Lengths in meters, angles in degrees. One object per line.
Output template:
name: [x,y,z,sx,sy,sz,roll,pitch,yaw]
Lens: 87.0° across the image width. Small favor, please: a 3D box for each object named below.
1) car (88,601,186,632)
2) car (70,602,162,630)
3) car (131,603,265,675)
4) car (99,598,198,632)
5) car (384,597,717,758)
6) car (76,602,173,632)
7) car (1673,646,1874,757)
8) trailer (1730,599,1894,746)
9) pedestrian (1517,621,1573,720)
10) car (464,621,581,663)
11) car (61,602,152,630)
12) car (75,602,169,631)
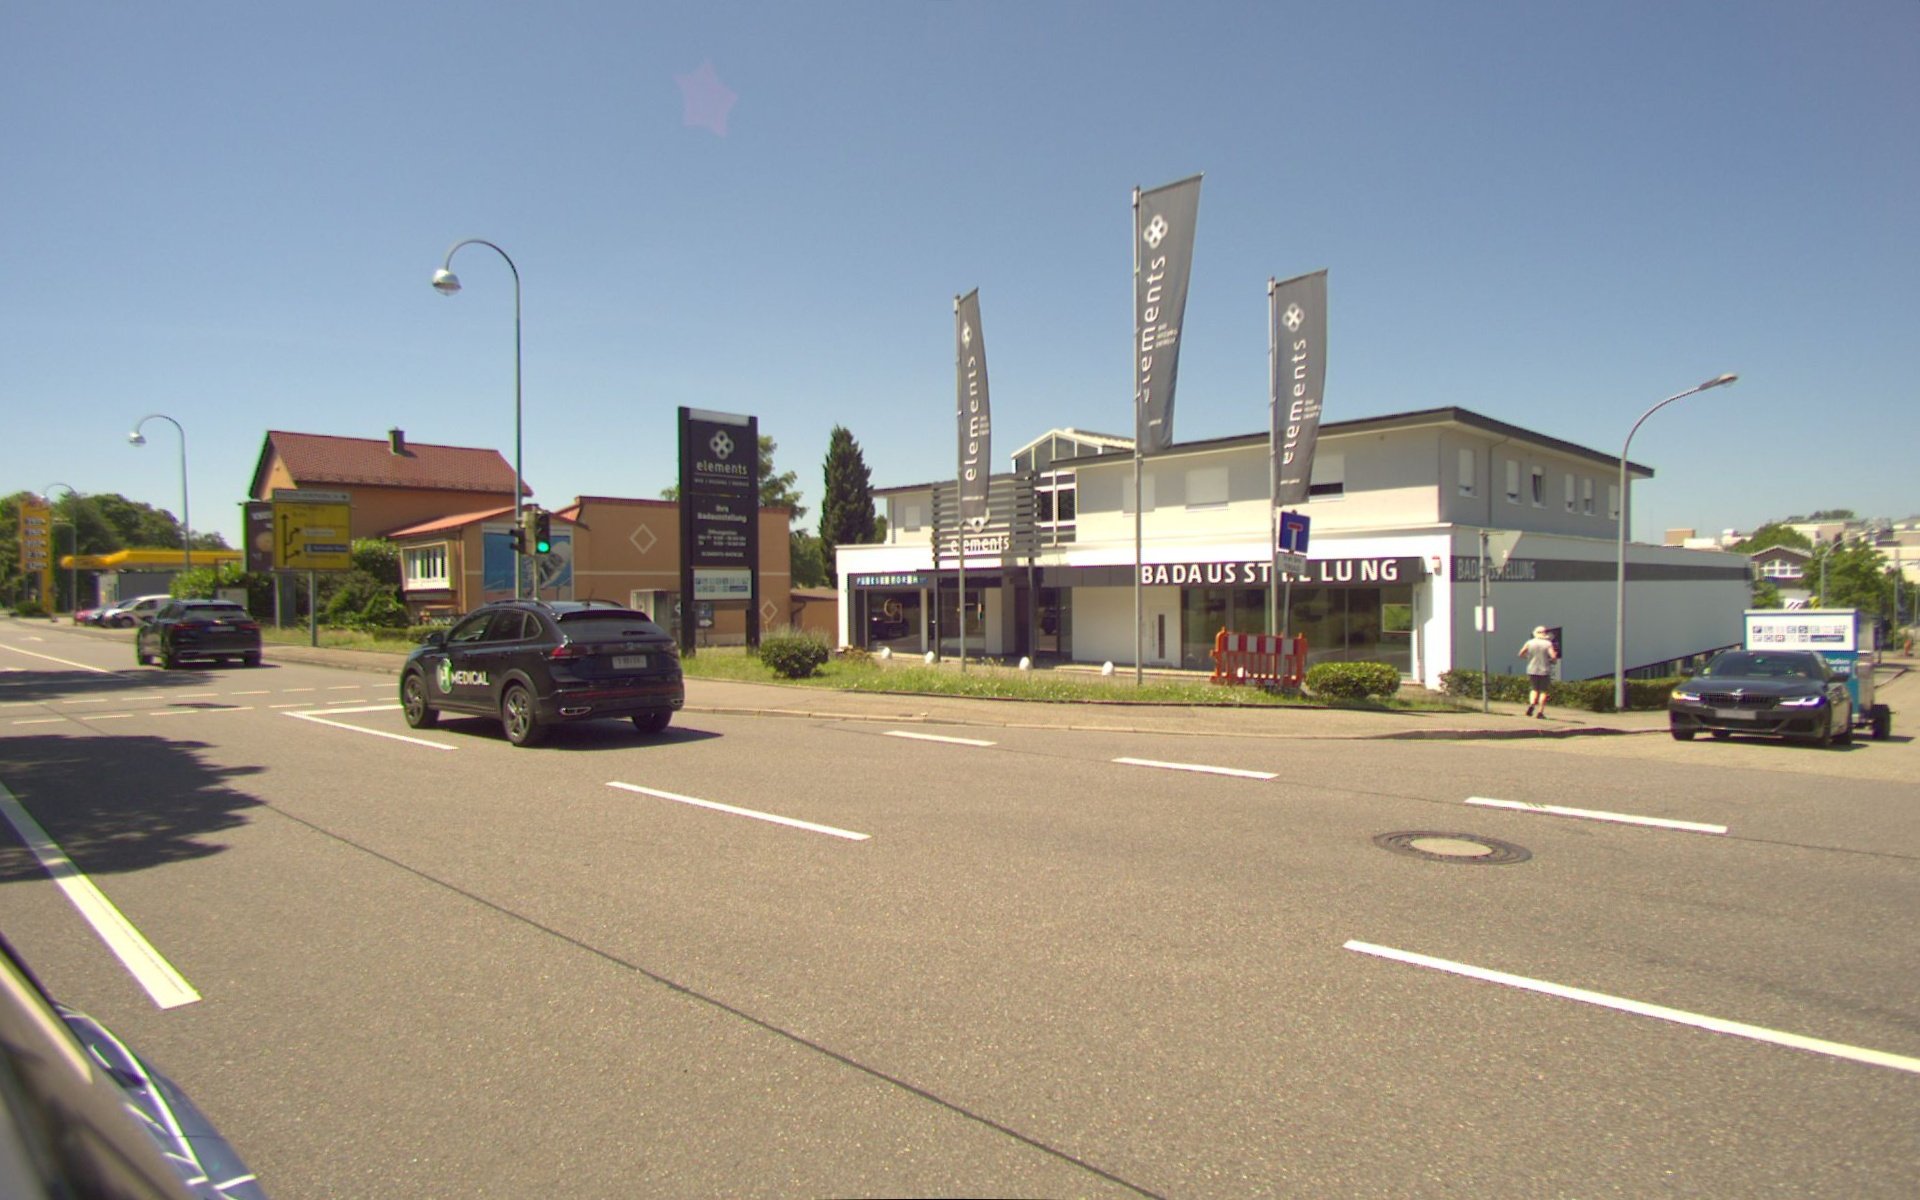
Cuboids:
car: [-48.587,0.957,59.825,1.872,1.773,4.195,0,-1,37]
car: [-55.070,1.020,66.084,1.872,1.773,4.348,0,-1,37]
car: [-18.282,0.870,24.211,4.304,1.567,1.904,0,-1,44]
car: [-46.852,0.856,58.488,1.872,1.883,4.140,0,-1,37]
car: [-4.787,0.750,11.609,4.049,1.518,1.850,0,-1,40]
car: [-51.851,1.037,62.859,1.872,1.773,4.348,0,-1,37]
car: [12.709,1.483,15.683,4.897,1.397,1.919,4,-3,-45]
trailer: [16.287,1.329,19.246,1.942,2.424,5.288,0,-3,45]
pedestrian: [10.845,1.286,18.771,0.535,1.775,0.704,0,-1,-20]
car: [-18.203,1.724,42.227,4.163,1.621,1.774,0,-1,-40]
car: [-56.910,1.055,67.546,1.872,1.773,4.348,0,-1,37]
car: [-53.381,1.033,64.541,1.872,1.773,4.348,0,-1,37]
